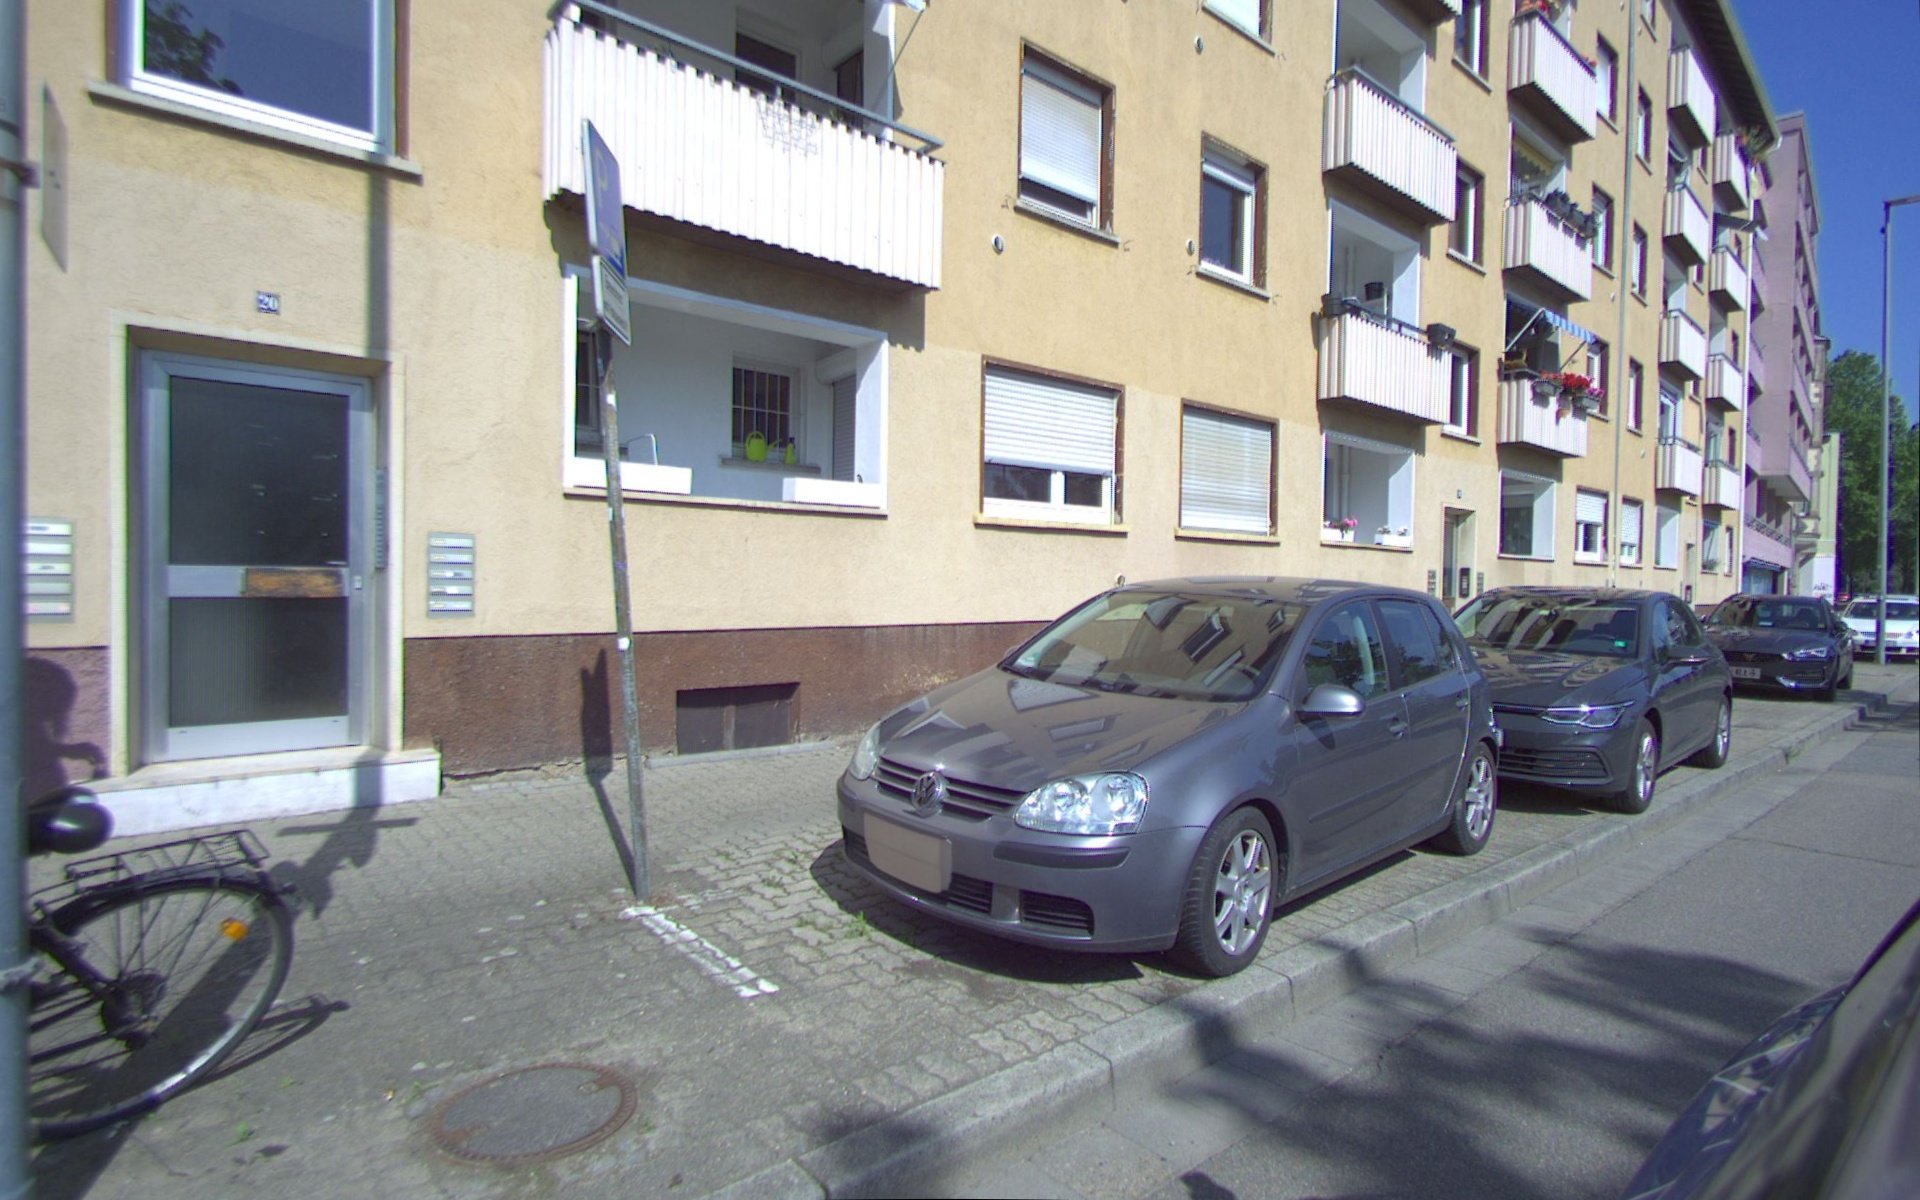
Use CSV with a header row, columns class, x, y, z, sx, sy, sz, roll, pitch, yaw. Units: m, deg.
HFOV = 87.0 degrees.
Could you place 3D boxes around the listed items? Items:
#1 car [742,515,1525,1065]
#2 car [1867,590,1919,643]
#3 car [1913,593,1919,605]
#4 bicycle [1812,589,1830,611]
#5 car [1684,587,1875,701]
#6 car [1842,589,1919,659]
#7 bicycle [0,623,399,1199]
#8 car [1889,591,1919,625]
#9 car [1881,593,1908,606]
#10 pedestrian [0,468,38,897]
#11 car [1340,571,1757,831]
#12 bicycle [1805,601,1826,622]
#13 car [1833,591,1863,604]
class,x,y,z,sx,sy,sz,roll,pitch,yaw
car,1.149,0.501,4.861,1.704,1.533,4.026,2,1,45
car,29.822,0.478,31.756,4.282,1.560,1.737,0,2,-45
car,118.888,-0.067,123.865,1.980,1.429,4.574,3,2,26
bicycle,47.542,-0.009,55.888,0.654,1.160,1.604,4,3,39
car,12.658,0.559,15.516,1.801,1.456,4.515,2,2,45
car,22.420,0.530,24.149,4.060,1.524,1.758,0,2,-45
bicycle,-2.144,0.645,1.960,0.702,1.138,1.718,2,1,43
car,45.037,0.370,47.680,1.785,1.500,3.938,3,3,43
car,124.280,-0.089,134.613,1.631,1.519,3.614,4,2,28
pedestrian,-4.092,0.296,3.857,0.809,1.629,0.657,1,2,-40
car,4.753,0.560,7.879,4.185,1.480,1.712,0,1,-44
bicycle,41.985,0.535,49.661,0.650,0.982,1.835,2,2,43
car,120.633,-0.348,137.514,1.782,1.538,3.935,2,2,22
